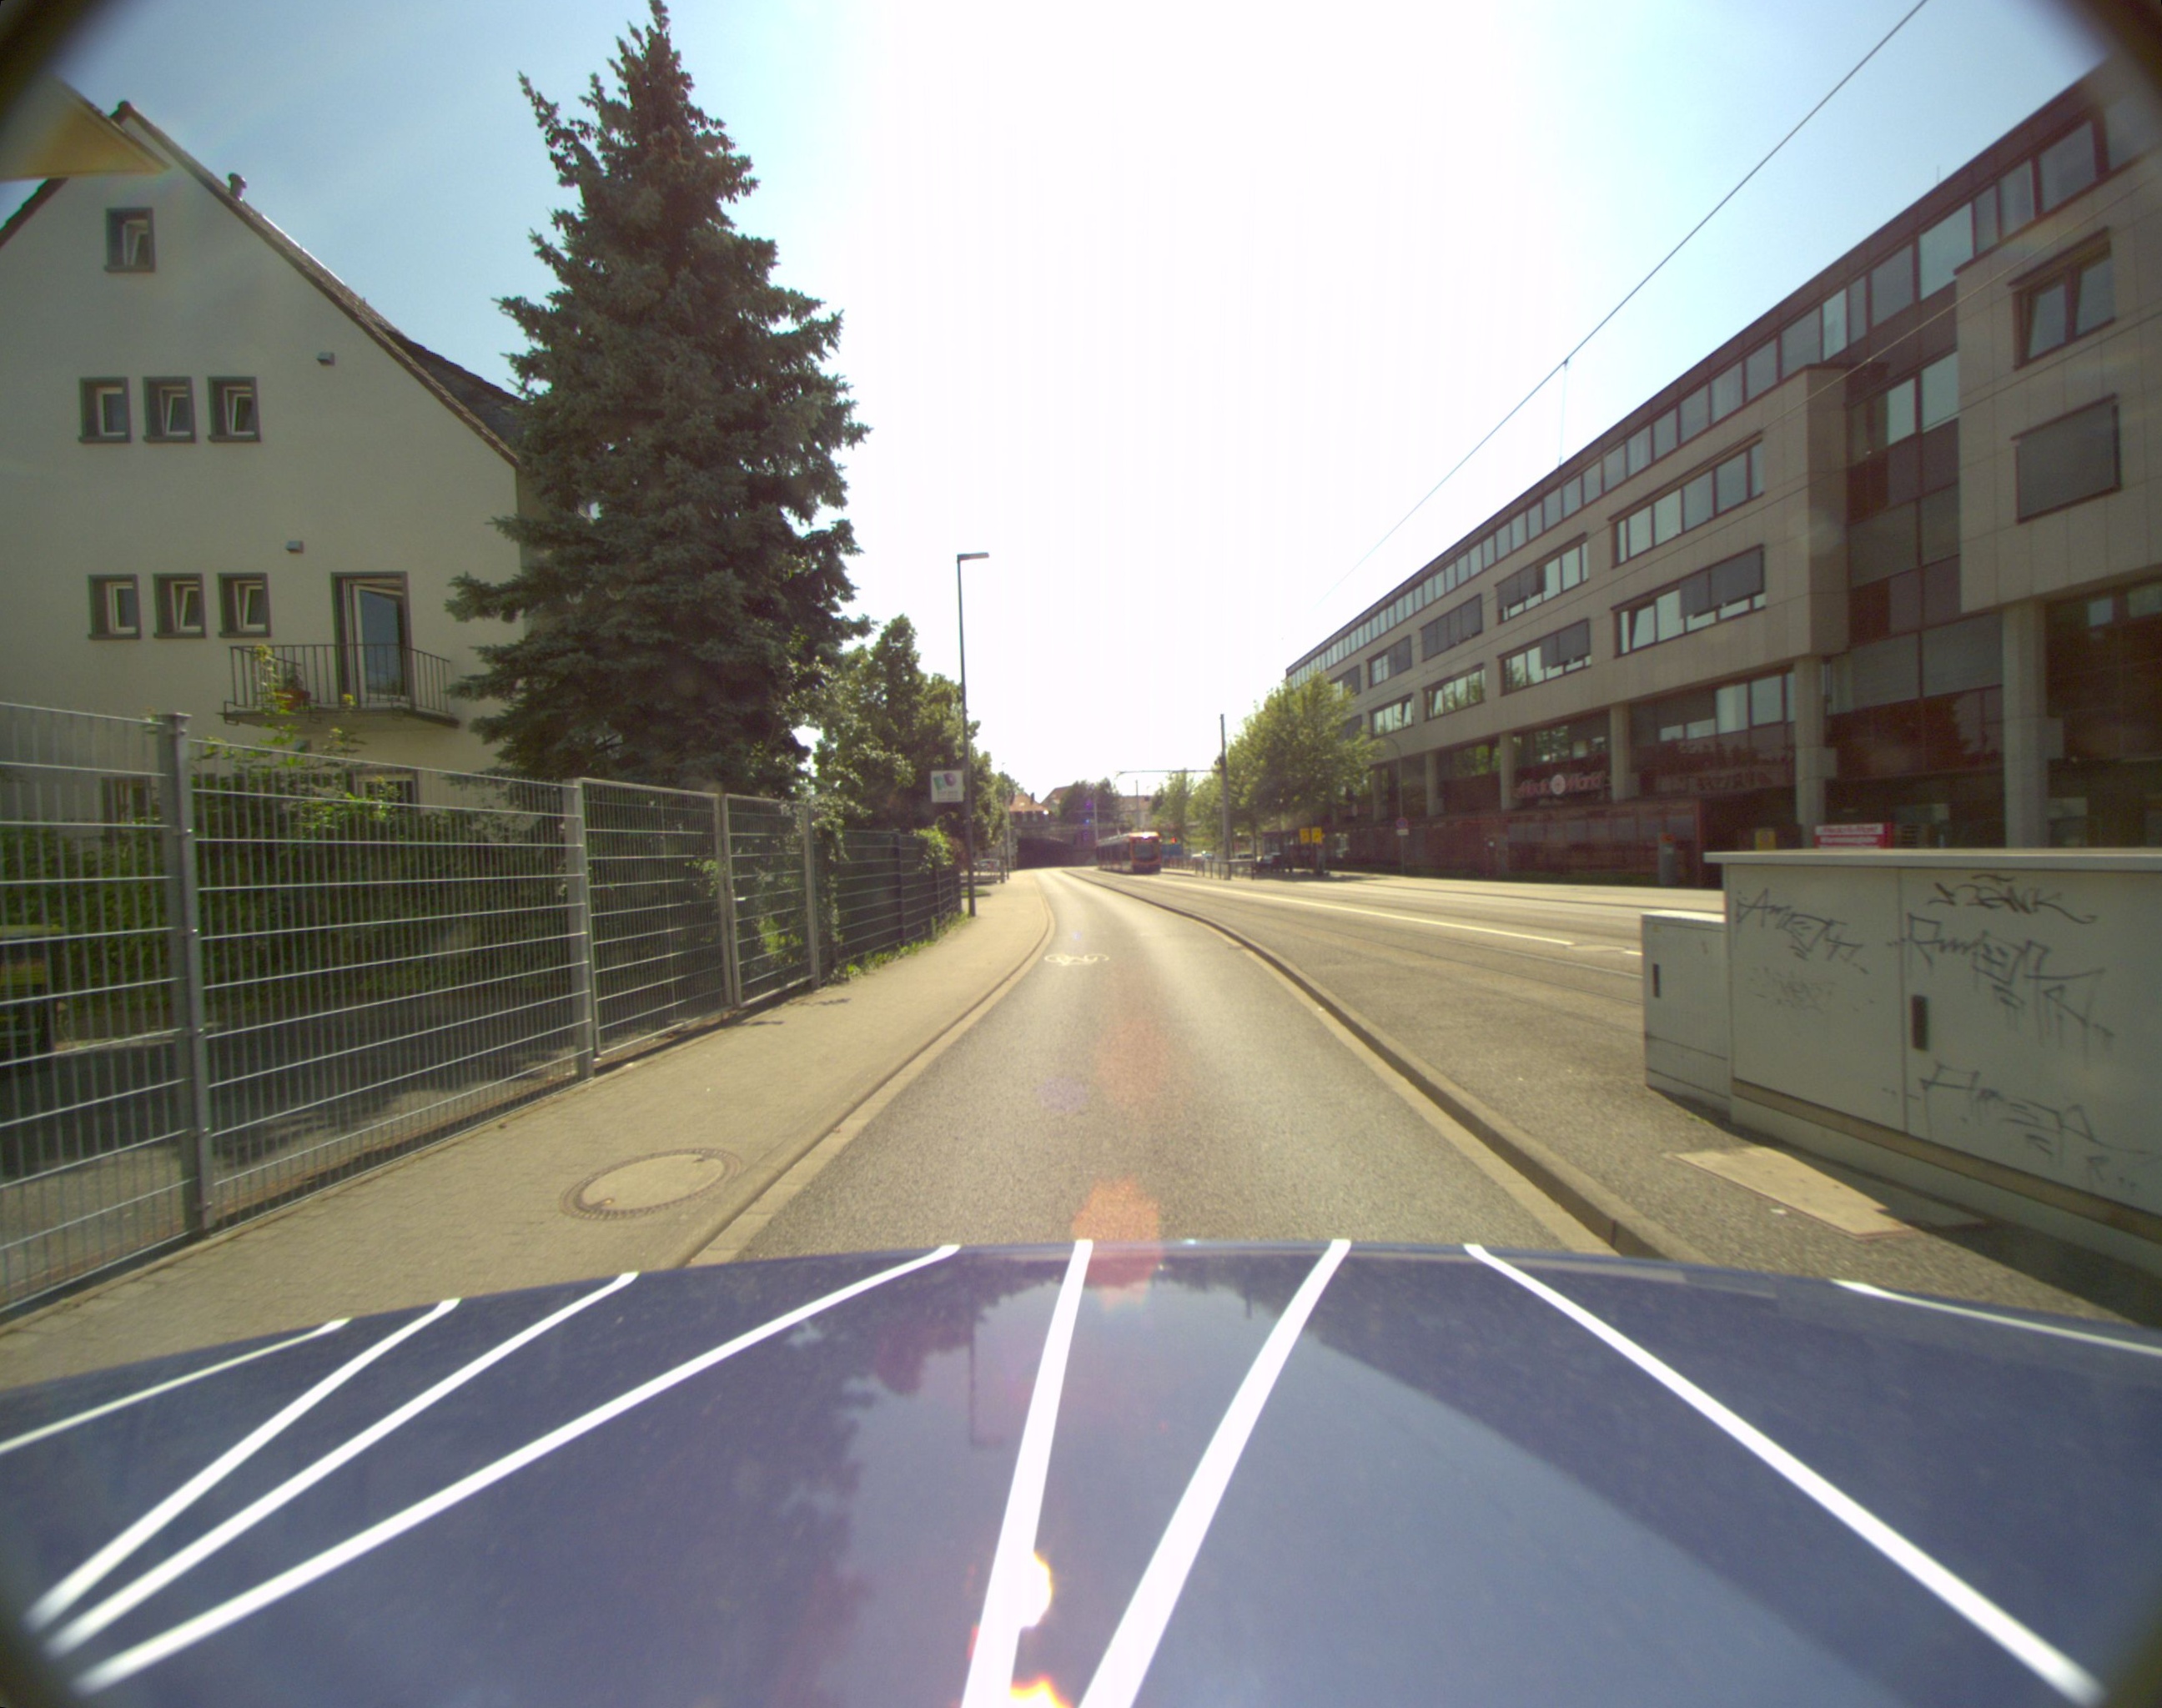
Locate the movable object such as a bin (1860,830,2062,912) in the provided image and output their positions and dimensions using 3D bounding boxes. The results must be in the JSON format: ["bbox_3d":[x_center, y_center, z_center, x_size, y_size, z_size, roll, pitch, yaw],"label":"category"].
[{"bbox_3d":[23.660,0.441,20.563,1.748,2.002,3.173,-2,0,-23],"label":"movable object such as a bin"}]

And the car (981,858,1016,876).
[{"bbox_3d":[-9.719,1.496,89.532,3.999,2.089,1.999,-1,0,-7],"label":"car"}]

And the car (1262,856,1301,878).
[{"bbox_3d":[14.918,0.947,56.713,1.998,1.613,4.001,-1,0,4],"label":"car"}]

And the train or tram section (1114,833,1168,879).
[{"bbox_3d":[4.802,0.207,63.478,2.681,3.464,12.324,-1,0,-4],"label":"train or tram section"}]

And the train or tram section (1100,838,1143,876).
[{"bbox_3d":[3.885,0.325,76.262,2.681,3.464,13.385,-1,0,-4],"label":"train or tram section"}]

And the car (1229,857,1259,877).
[{"bbox_3d":[13.718,1.053,64.164,1.871,1.608,4.001,-1,0,4],"label":"car"}]
